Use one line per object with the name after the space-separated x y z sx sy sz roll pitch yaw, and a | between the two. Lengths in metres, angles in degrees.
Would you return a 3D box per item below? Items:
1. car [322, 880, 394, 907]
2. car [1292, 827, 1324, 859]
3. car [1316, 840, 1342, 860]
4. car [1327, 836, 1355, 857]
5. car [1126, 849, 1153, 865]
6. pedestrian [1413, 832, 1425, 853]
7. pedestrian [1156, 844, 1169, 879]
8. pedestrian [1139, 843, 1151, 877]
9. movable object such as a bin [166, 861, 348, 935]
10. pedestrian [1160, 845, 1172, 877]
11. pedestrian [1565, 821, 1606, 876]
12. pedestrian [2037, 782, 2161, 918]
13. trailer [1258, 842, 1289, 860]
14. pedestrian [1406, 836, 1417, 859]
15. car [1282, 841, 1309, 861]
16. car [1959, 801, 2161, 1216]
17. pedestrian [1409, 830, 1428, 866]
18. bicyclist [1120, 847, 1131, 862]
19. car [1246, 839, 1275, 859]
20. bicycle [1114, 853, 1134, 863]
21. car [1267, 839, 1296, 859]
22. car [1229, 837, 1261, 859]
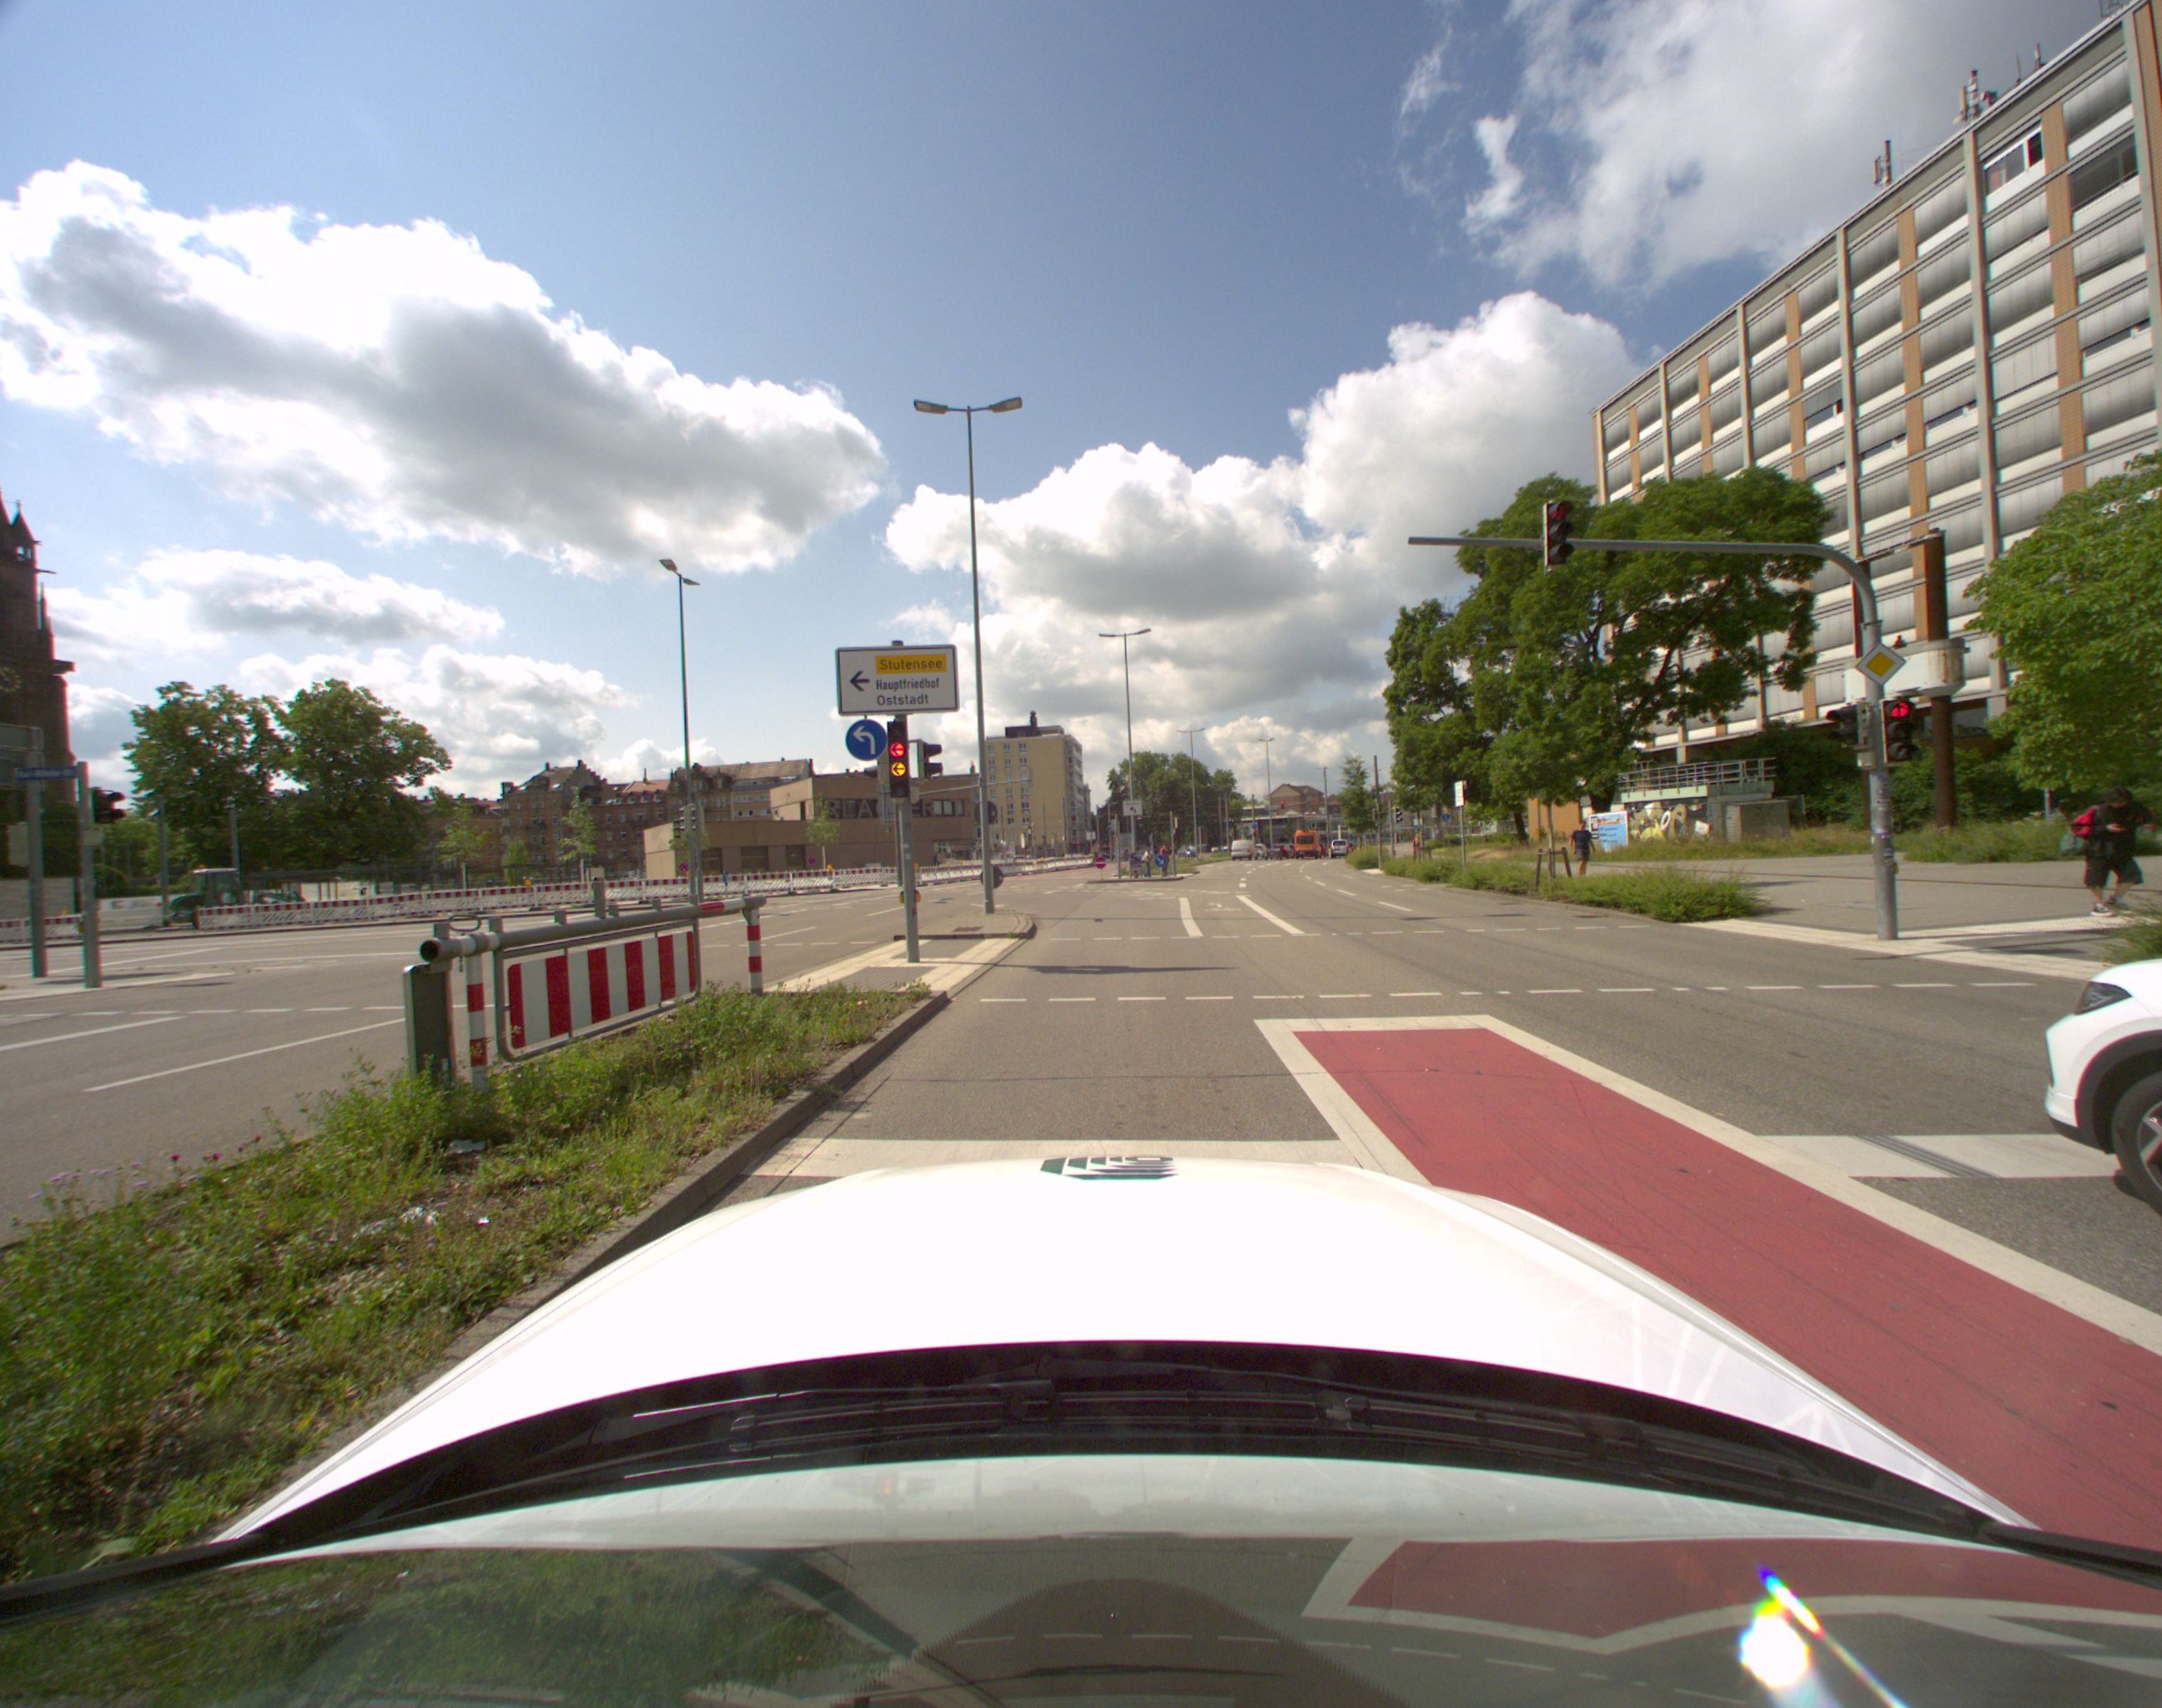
-58.961 3.237 66.512 4.201 1.881 1.782 -3 0 -39 | car
21.730 -1.076 77.822 2.111 2.780 4.665 -3 0 24 | car
26.111 -0.479 85.746 1.973 1.938 4.665 -3 0 24 | car
25.010 -0.740 78.338 1.975 1.795 4.024 -3 0 25 | car
5.863 0.292 81.064 1.778 1.388 4.245 -2 0 16 | car
29.387 -1.003 70.735 0.780 1.784 0.671 -3 0 30 | pedestrian
4.145 0.369 41.469 0.521 1.733 0.625 -3 0 9 | pedestrian
3.349 0.309 42.482 0.521 1.733 0.625 -3 0 9 | pedestrian
-37.195 1.905 36.948 2.259 2.884 5.577 -3 0 43 | movable object such as a bin
4.594 0.391 43.754 0.521 1.684 0.625 -3 0 9 | pedestrian
14.261 -0.149 23.045 0.766 1.508 0.553 -2 0 5 | pedestrian
13.687 -0.053 10.964 0.739 1.735 0.679 -3 0 3 | pedestrian
18.251 -0.304 77.112 1.975 1.477 4.023 -3 0 25 | trailer
26.788 -0.532 65.990 0.781 1.784 0.670 -3 0 21 | pedestrian
22.834 -0.385 86.698 1.973 1.938 4.665 -3 0 24 | car
4.873 0.563 1.697 1.785 1.539 4.011 -1 0 0 | car
16.739 -0.305 40.378 0.656 1.733 0.579 -3 0 7 | pedestrian
5.753 0.094 105.280 1.209 1.909 0.863 -3 0 20 | bicyclist
19.255 -0.512 87.254 1.973 1.938 4.665 -3 0 24 | car
5.544 0.526 105.354 2.359 1.066 0.863 -3 0 20 | bicycle
19.872 -0.509 80.538 1.975 1.826 4.023 -3 0 25 | car
16.108 -0.619 79.902 1.987 1.966 4.665 -3 0 24 | car
